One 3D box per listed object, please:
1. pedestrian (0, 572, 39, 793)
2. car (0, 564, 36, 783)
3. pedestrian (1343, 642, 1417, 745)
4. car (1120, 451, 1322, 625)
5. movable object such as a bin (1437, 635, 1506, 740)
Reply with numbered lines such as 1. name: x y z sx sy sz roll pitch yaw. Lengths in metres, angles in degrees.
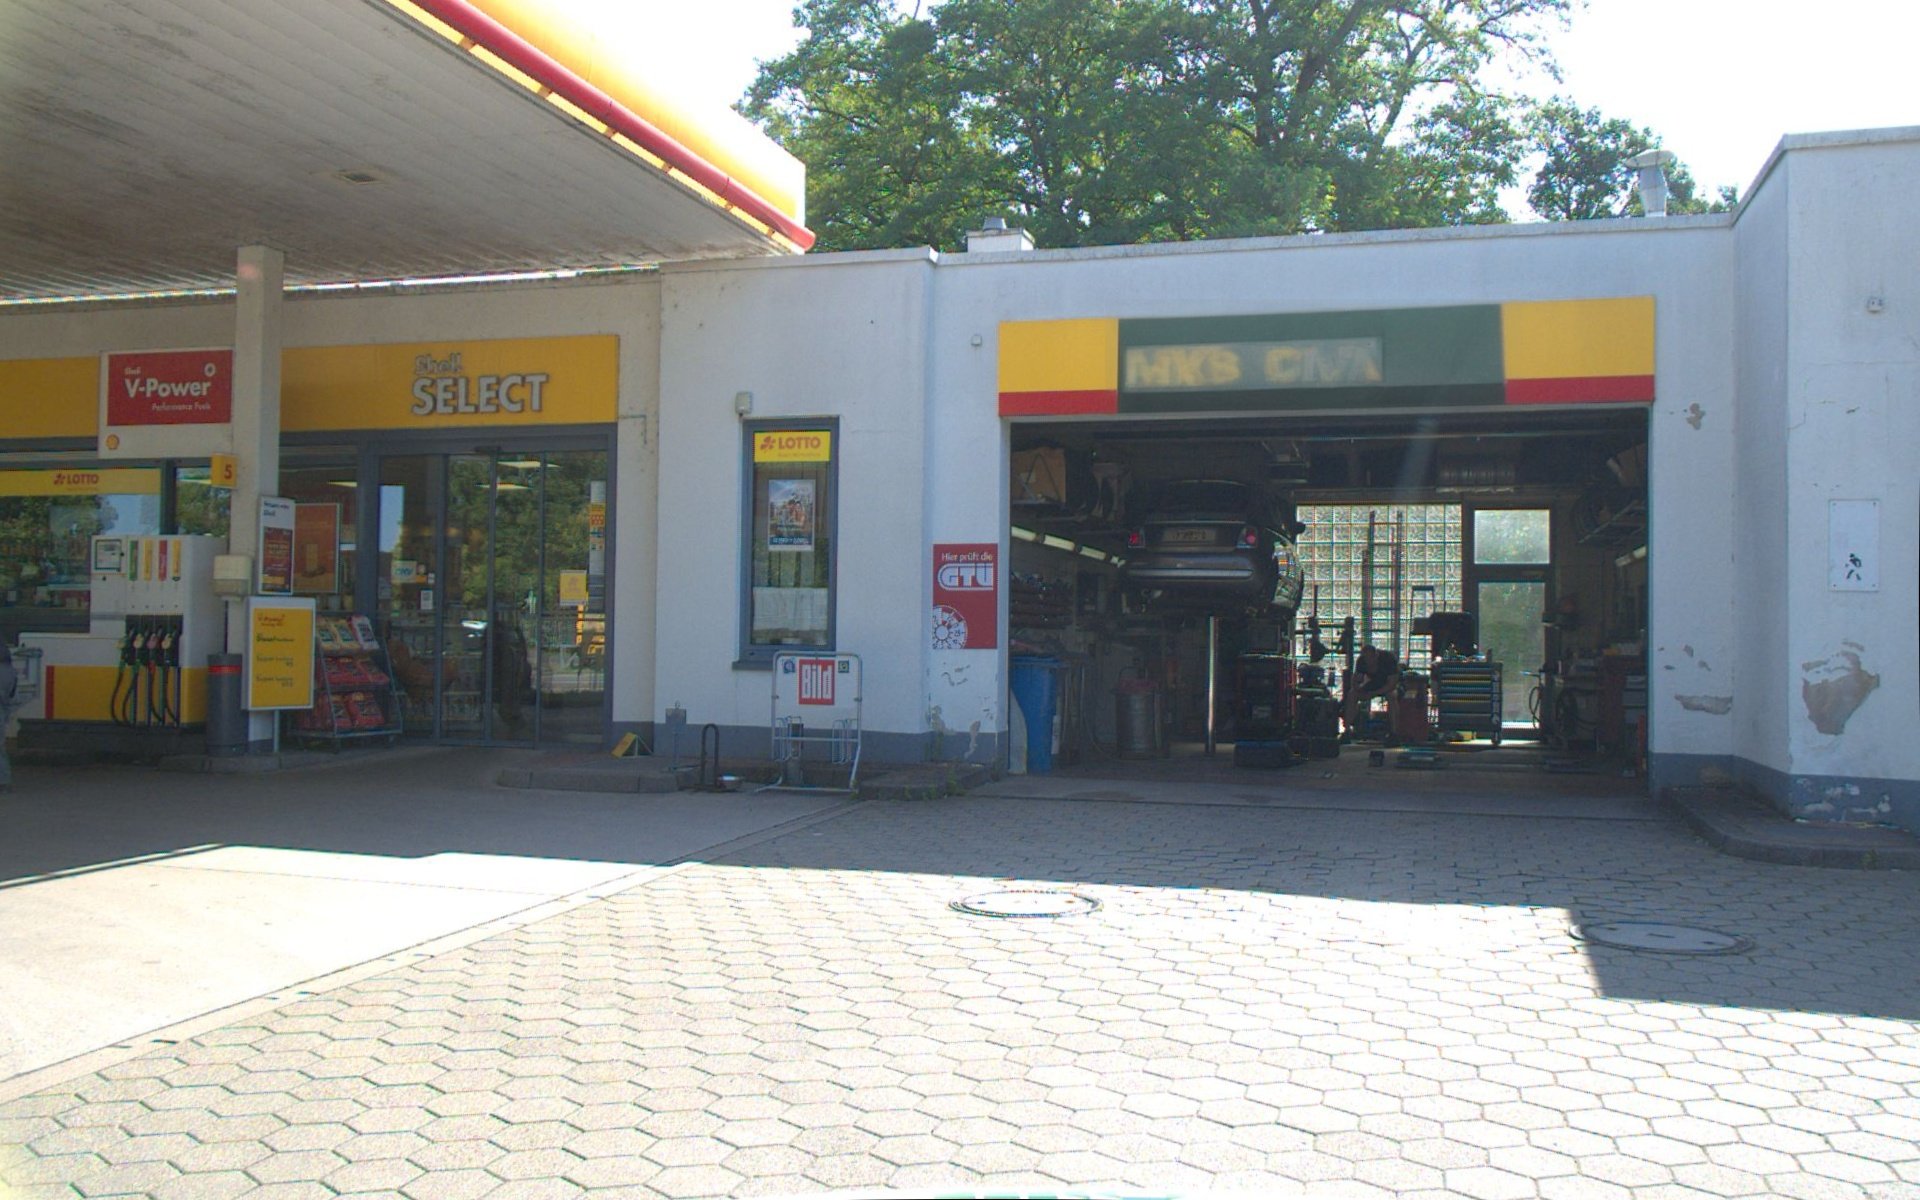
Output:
1. pedestrian: -7.573 0.634 12.858 0.488 1.698 0.476 0 -2 17
2. car: -9.754 0.597 13.393 3.904 1.758 1.834 -1 -2 20
3. pedestrian: 5.100 1.137 20.083 0.845 1.219 0.743 0 -4 15
4. car: 2.976 -0.570 18.198 1.612 1.512 4.001 -1 -3 18
5. movable object such as a bin: 6.217 1.060 20.127 0.780 1.258 0.544 -1 -4 18
